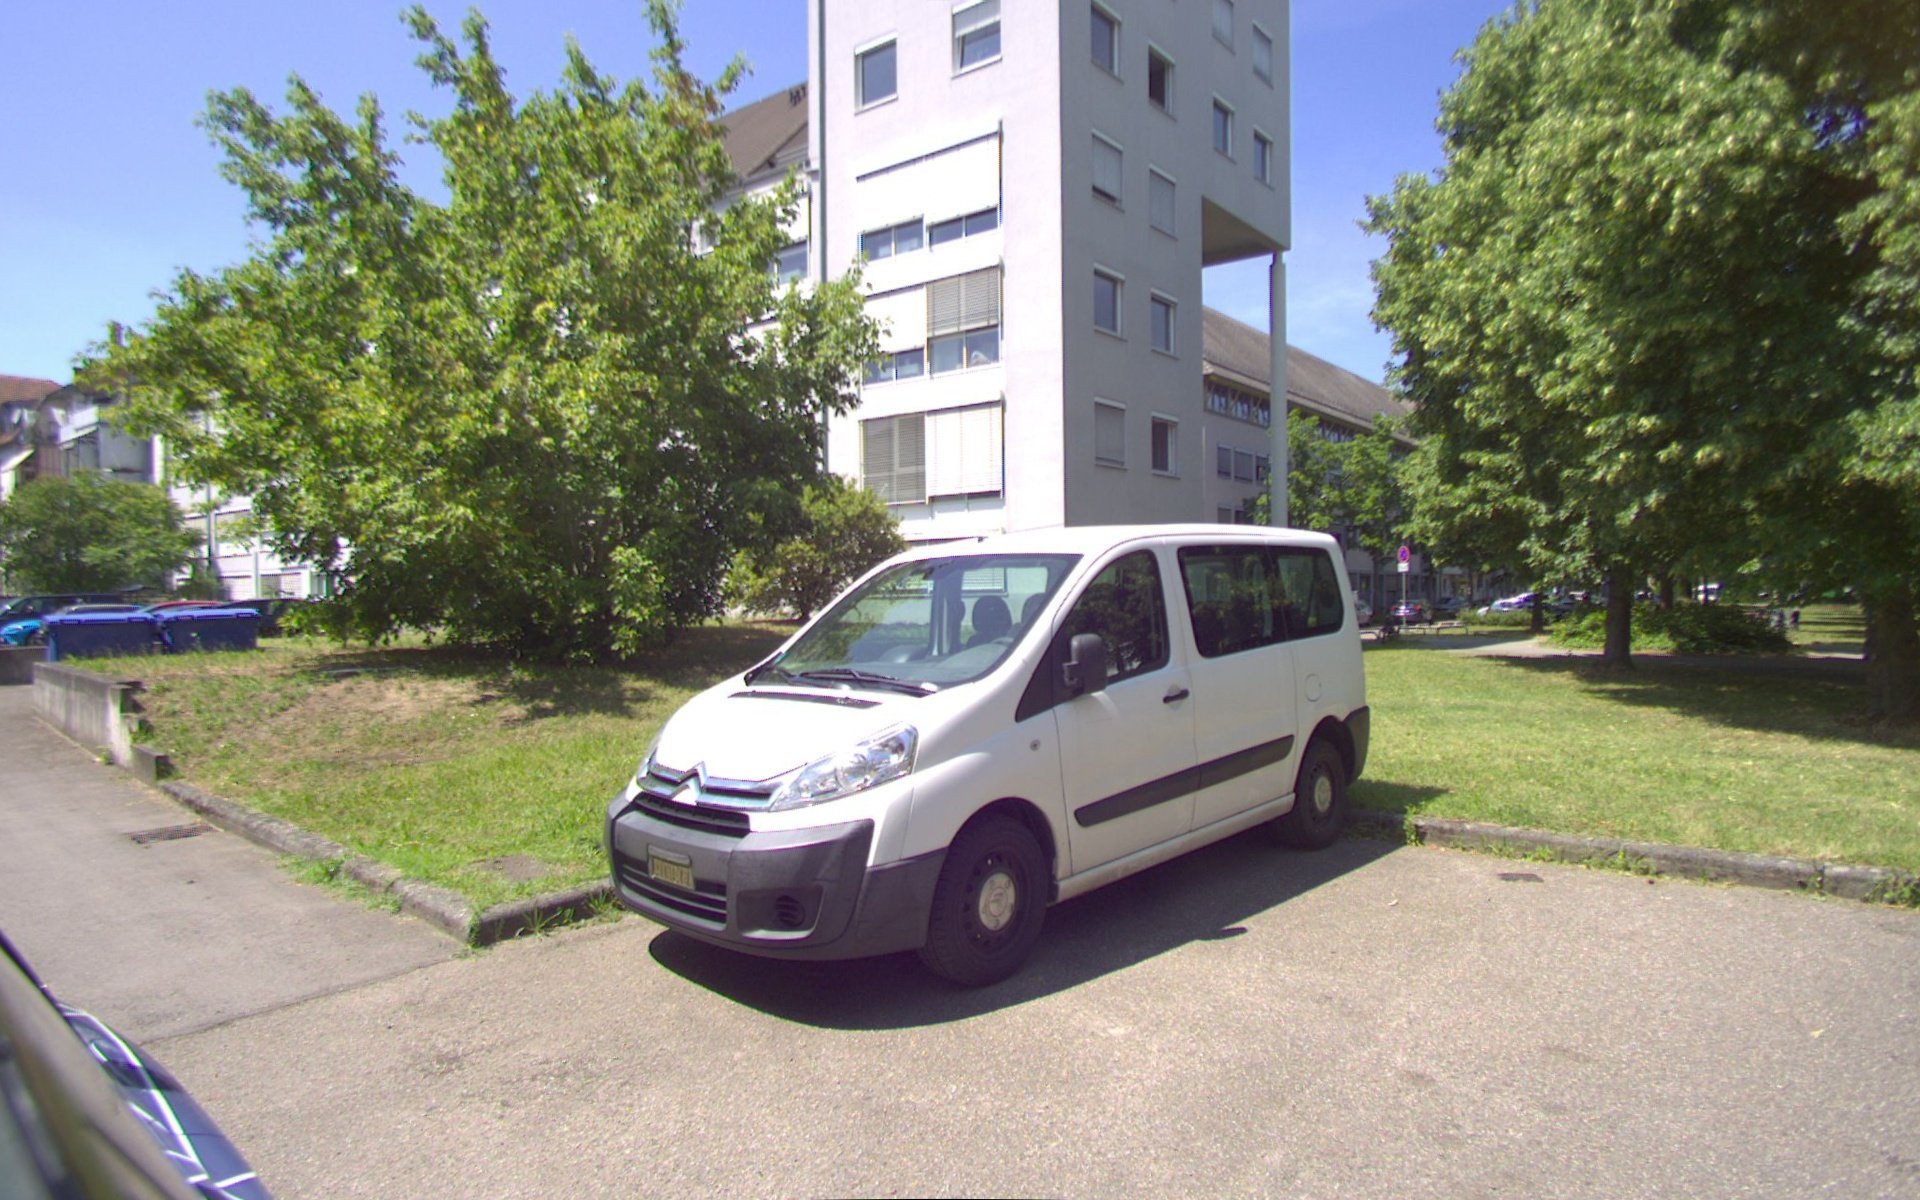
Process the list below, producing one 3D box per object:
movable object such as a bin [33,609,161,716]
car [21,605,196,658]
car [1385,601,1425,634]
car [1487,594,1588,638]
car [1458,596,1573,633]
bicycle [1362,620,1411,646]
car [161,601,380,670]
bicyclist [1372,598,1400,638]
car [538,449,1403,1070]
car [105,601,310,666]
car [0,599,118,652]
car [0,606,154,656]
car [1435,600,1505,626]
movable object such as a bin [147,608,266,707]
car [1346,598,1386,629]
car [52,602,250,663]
[{"bbox_3d":[-12.277,0.846,14.403,1.095,1.399,1.255,0,0,41],"label":"movable object such as a bin"},{"bbox_3d":[-28.004,0.997,33.416,1.610,1.580,4.174,0,0,36],"label":"car"},{"bbox_3d":[23.626,0.888,53.693,1.799,1.615,3.860,0,0,26],"label":"car"},{"bbox_3d":[27.766,0.737,48.696,3.996,2.029,1.974,0,0,39],"label":"car"},{"bbox_3d":[25.207,0.616,45.983,4.337,1.622,1.908,0,0,39],"label":"car"},{"bbox_3d":[11.669,0.891,27.648,0.734,0.646,1.594,-4,-2,42],"label":"bicycle"},{"bbox_3d":[-17.643,0.829,26.105,1.610,1.580,4.393,0,0,36],"label":"car"},{"bbox_3d":[11.619,0.495,27.611,0.518,1.053,0.515,-4,-3,43],"label":"bicyclist"},{"bbox_3d":[0.499,0.467,5.559,2.068,1.897,4.794,0,0,43],"label":"car"},{"bbox_3d":[-20.176,0.828,27.309,1.610,1.580,4.174,0,0,36],"label":"car"},{"bbox_3d":[-33.288,0.882,36.467,2.006,1.837,4.174,0,0,36],"label":"car"},{"bbox_3d":[-30.688,1.013,34.985,1.610,1.580,4.174,0,0,36],"label":"car"},{"bbox_3d":[33.434,0.851,66.433,3.891,1.643,1.515,0,0,39],"label":"car"},{"bbox_3d":[-11.456,0.836,15.389,1.095,1.399,1.255,0,0,41],"label":"movable object such as a bin"},{"bbox_3d":[22.357,0.717,55.657,1.799,1.615,3.860,0,0,26],"label":"car"},{"bbox_3d":[-23.075,0.858,29.007,1.610,1.580,4.174,0,0,36],"label":"car"}]
